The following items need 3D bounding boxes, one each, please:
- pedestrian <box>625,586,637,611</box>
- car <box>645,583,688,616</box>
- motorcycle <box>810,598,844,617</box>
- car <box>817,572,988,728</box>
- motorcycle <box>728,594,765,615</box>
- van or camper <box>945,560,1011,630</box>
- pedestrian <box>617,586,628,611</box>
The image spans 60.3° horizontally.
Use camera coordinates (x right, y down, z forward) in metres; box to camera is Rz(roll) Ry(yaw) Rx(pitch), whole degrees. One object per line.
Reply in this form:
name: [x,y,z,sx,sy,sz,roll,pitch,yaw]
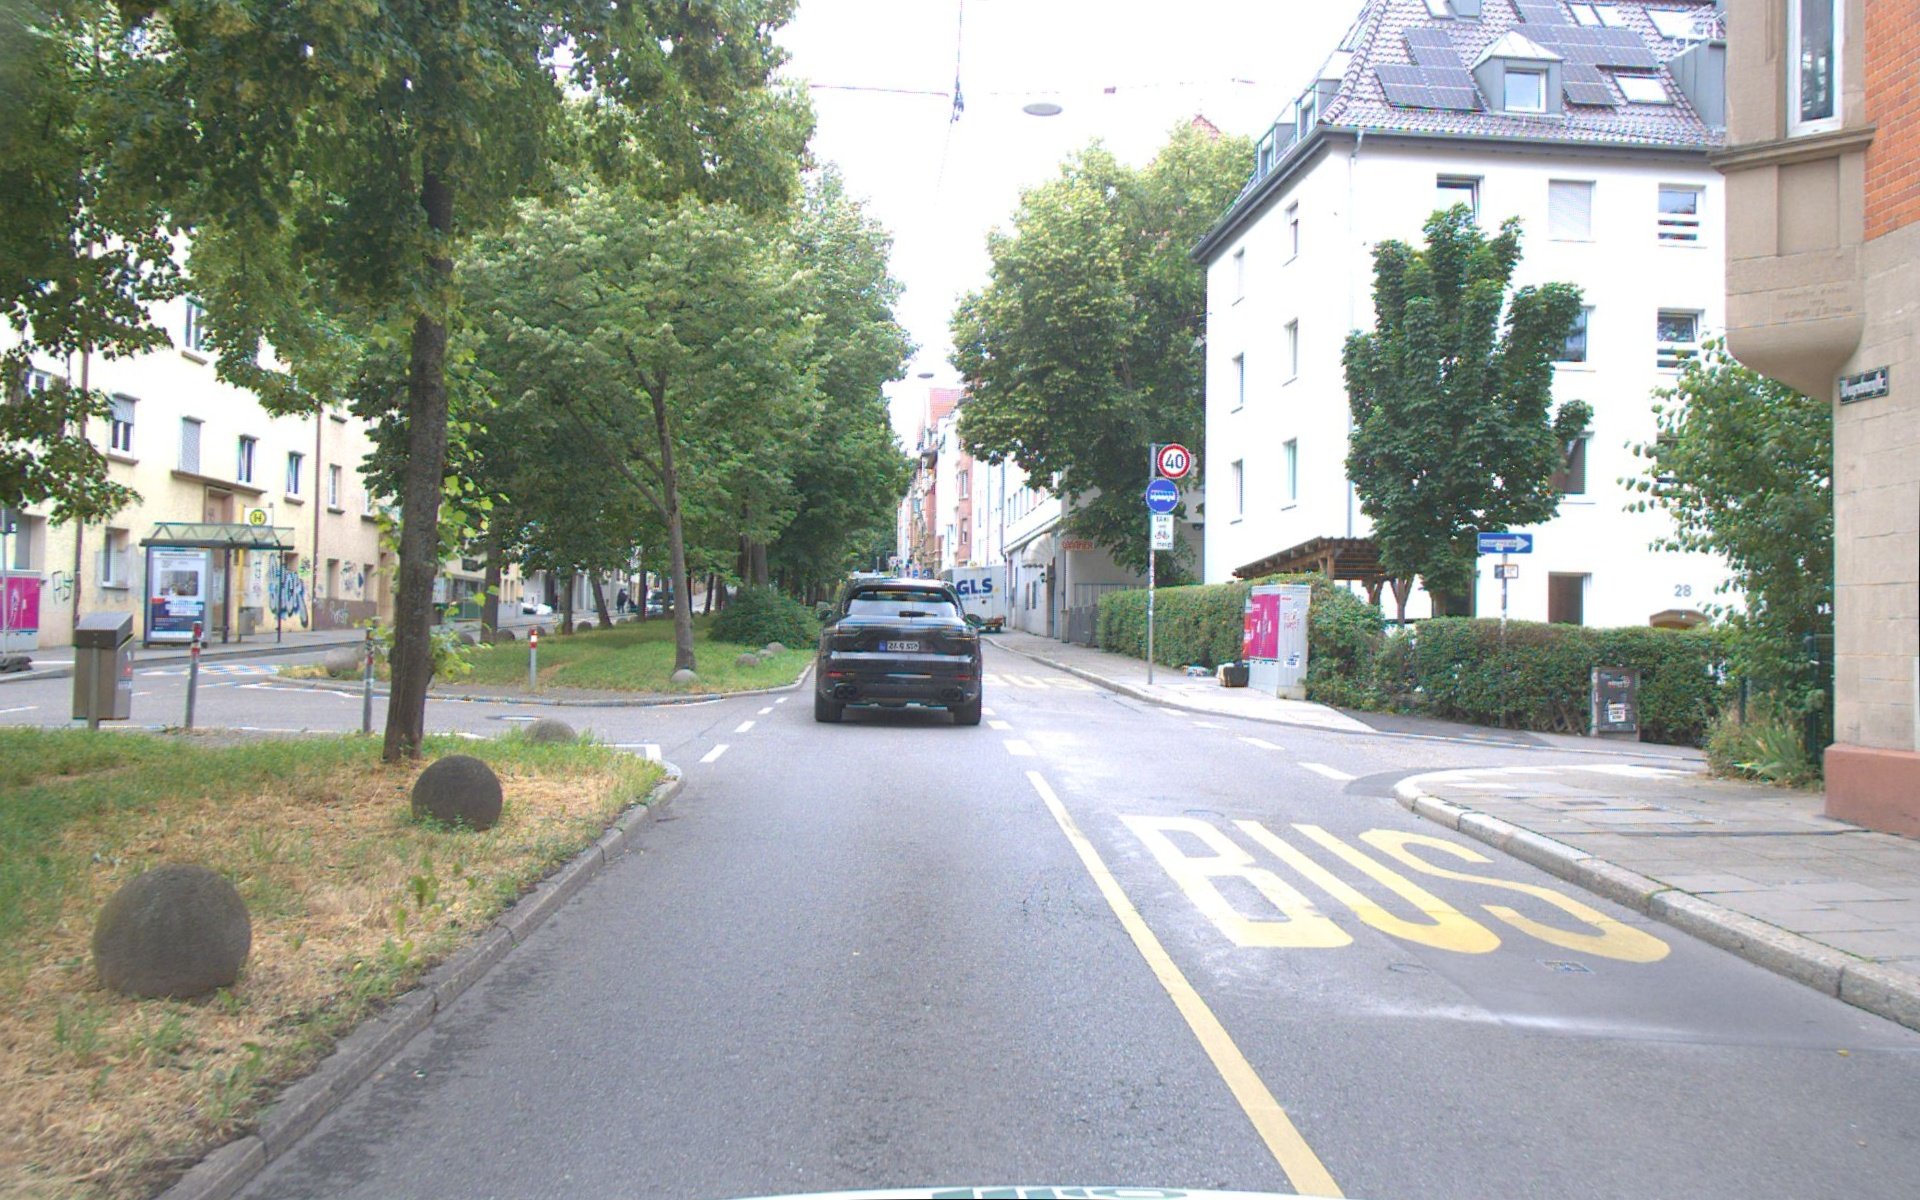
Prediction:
pedestrian: [-21.942,-0.080,110.357,0.649,1.644,0.579,1,0,-2]
car: [-16.923,-0.015,95.595,1.911,1.656,4.361,-5,0,-4]
motorcycle: [-8.960,0.492,111.433,2.309,1.257,1.032,1,1,-5]
car: [-0.808,0.557,20.307,1.866,1.695,4.131,1,0,-5]
motorcycle: [-13.981,0.284,108.499,2.336,1.340,1.044,1,0,-5]
van or camper: [0.710,-0.206,72.007,2.430,2.852,7.234,1,0,-3]
pedestrian: [-22.064,-0.092,108.121,0.623,1.641,0.762,2,0,-11]
